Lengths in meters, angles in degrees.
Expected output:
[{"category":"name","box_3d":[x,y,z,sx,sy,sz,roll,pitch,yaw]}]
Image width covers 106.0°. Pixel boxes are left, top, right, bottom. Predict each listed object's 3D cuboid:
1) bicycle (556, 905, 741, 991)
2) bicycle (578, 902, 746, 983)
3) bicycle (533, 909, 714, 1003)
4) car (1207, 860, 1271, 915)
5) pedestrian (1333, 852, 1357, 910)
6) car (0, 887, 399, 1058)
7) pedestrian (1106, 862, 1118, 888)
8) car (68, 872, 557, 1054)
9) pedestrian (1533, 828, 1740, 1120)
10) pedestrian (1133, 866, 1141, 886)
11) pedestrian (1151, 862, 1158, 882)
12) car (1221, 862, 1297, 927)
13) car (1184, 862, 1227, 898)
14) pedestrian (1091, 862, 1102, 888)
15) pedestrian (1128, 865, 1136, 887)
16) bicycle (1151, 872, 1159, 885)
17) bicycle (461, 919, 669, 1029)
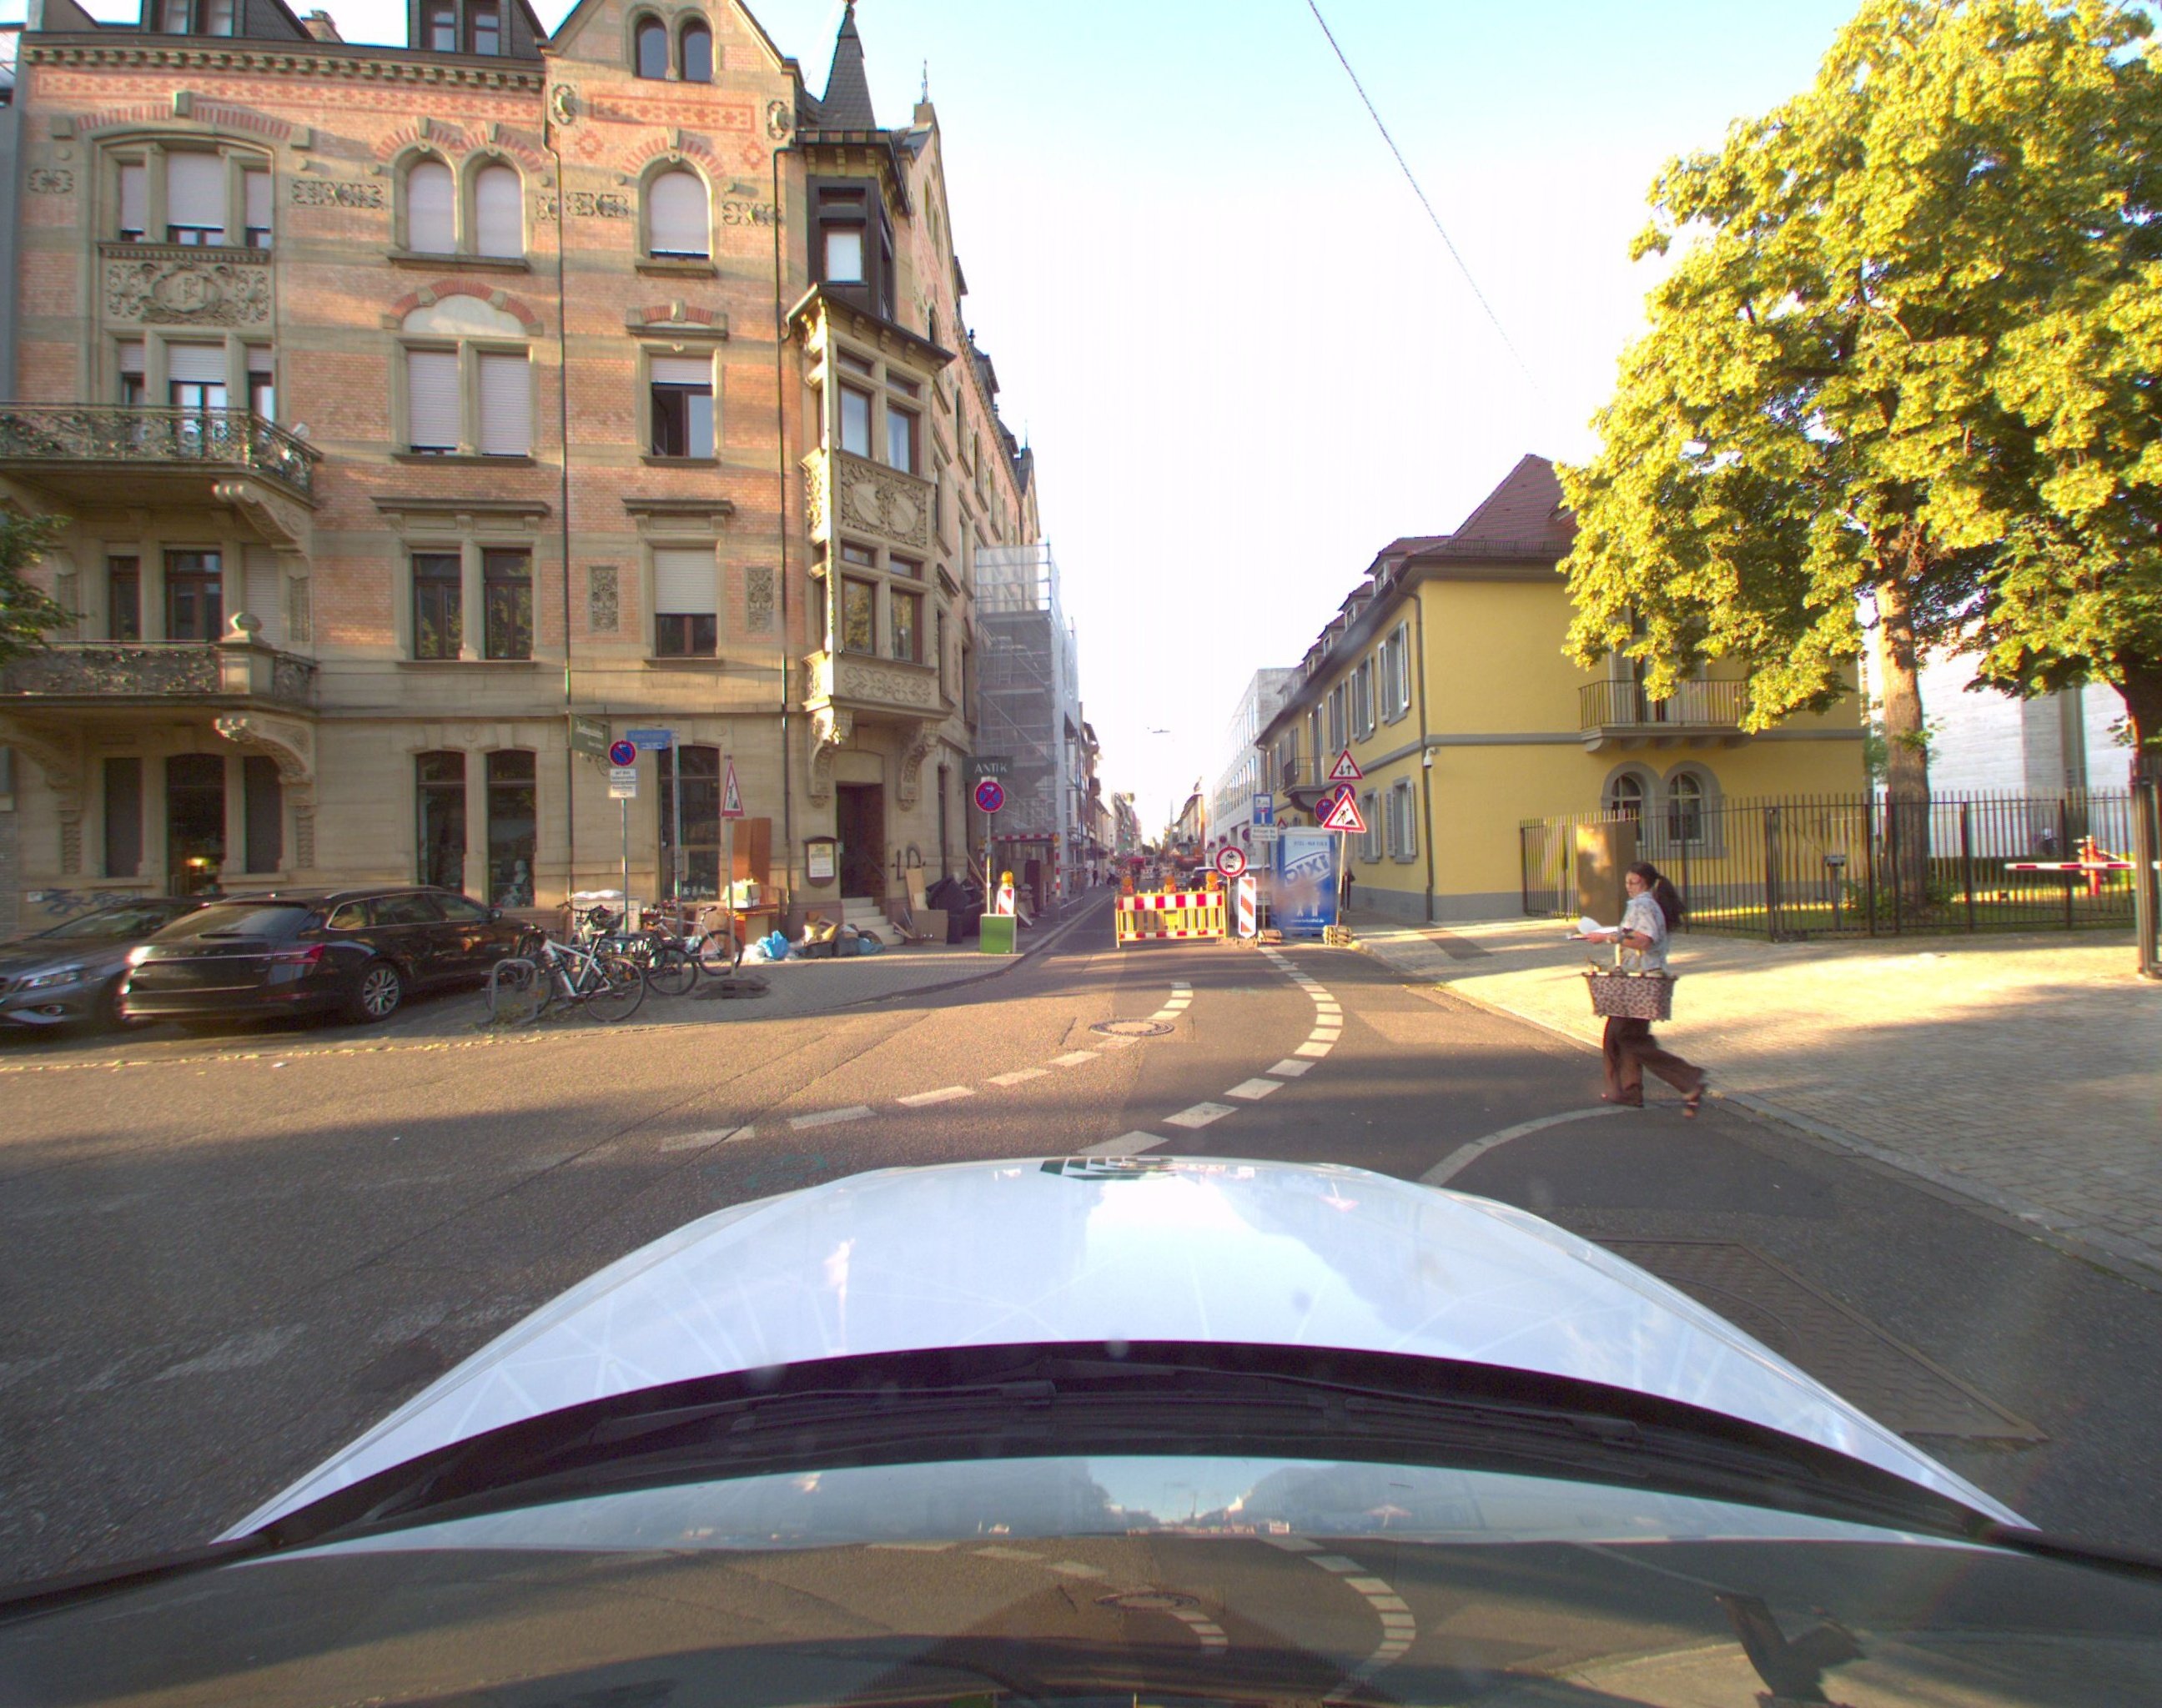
[{"category":"bicycle","box_3d":[-5.833,1.260,11.066,2.101,1.014,0.638,-2,-1,-7]},{"category":"bicycle","box_3d":[-6.021,1.265,11.765,2.101,1.040,0.464,-2,-1,-7]},{"category":"bicycle","box_3d":[-5.627,1.245,10.098,1.824,1.014,0.638,-2,-1,-7]},{"category":"car","box_3d":[4.854,0.980,25.388,1.533,1.520,3.985,-2,-1,5]},{"category":"pedestrian","box_3d":[7.311,0.739,22.604,0.464,1.595,0.674,-2,-1,7]},{"category":"car","box_3d":[-11.297,1.284,10.217,1.859,1.479,4.533,-2,0,-5]},{"category":"pedestrian","box_3d":[2.087,1.405,54.780,0.508,1.764,0.507,-1,-1,-36]},{"category":"car","box_3d":[-8.750,1.076,10.025,1.902,1.511,4.534,-2,1,-5]},{"category":"pedestrian","box_3d":[3.531,0.692,5.197,0.948,1.659,0.643,-3,-1,43]},{"category":"pedestrian","box_3d":[4.083,1.593,59.386,0.501,1.461,0.514,-2,-1,11]},{"category":"pedestrian","box_3d":[5.370,1.315,59.369,0.502,1.461,0.513,-2,-1,5]},{"category":"car","box_3d":[4.476,0.970,20.866,1.533,1.520,3.226,0,-1,5]},{"category":"car","box_3d":[5.663,1.153,37.286,1.709,1.520,3.226,-2,-1,5]},{"category":"pedestrian","box_3d":[1.054,1.399,54.781,0.673,1.733,0.700,-1,-2,2]},{"category":"pedestrian","box_3d":[3.547,1.542,56.903,0.502,1.461,0.513,-2,-1,5]},{"category":"bicycle","box_3d":[5.380,1.779,59.388,0.502,0.884,1.479,-2,-1,5]},{"category":"bicycle","box_3d":[-5.540,1.272,8.809,1.822,1.047,0.571,-2,-1,-3]}]
